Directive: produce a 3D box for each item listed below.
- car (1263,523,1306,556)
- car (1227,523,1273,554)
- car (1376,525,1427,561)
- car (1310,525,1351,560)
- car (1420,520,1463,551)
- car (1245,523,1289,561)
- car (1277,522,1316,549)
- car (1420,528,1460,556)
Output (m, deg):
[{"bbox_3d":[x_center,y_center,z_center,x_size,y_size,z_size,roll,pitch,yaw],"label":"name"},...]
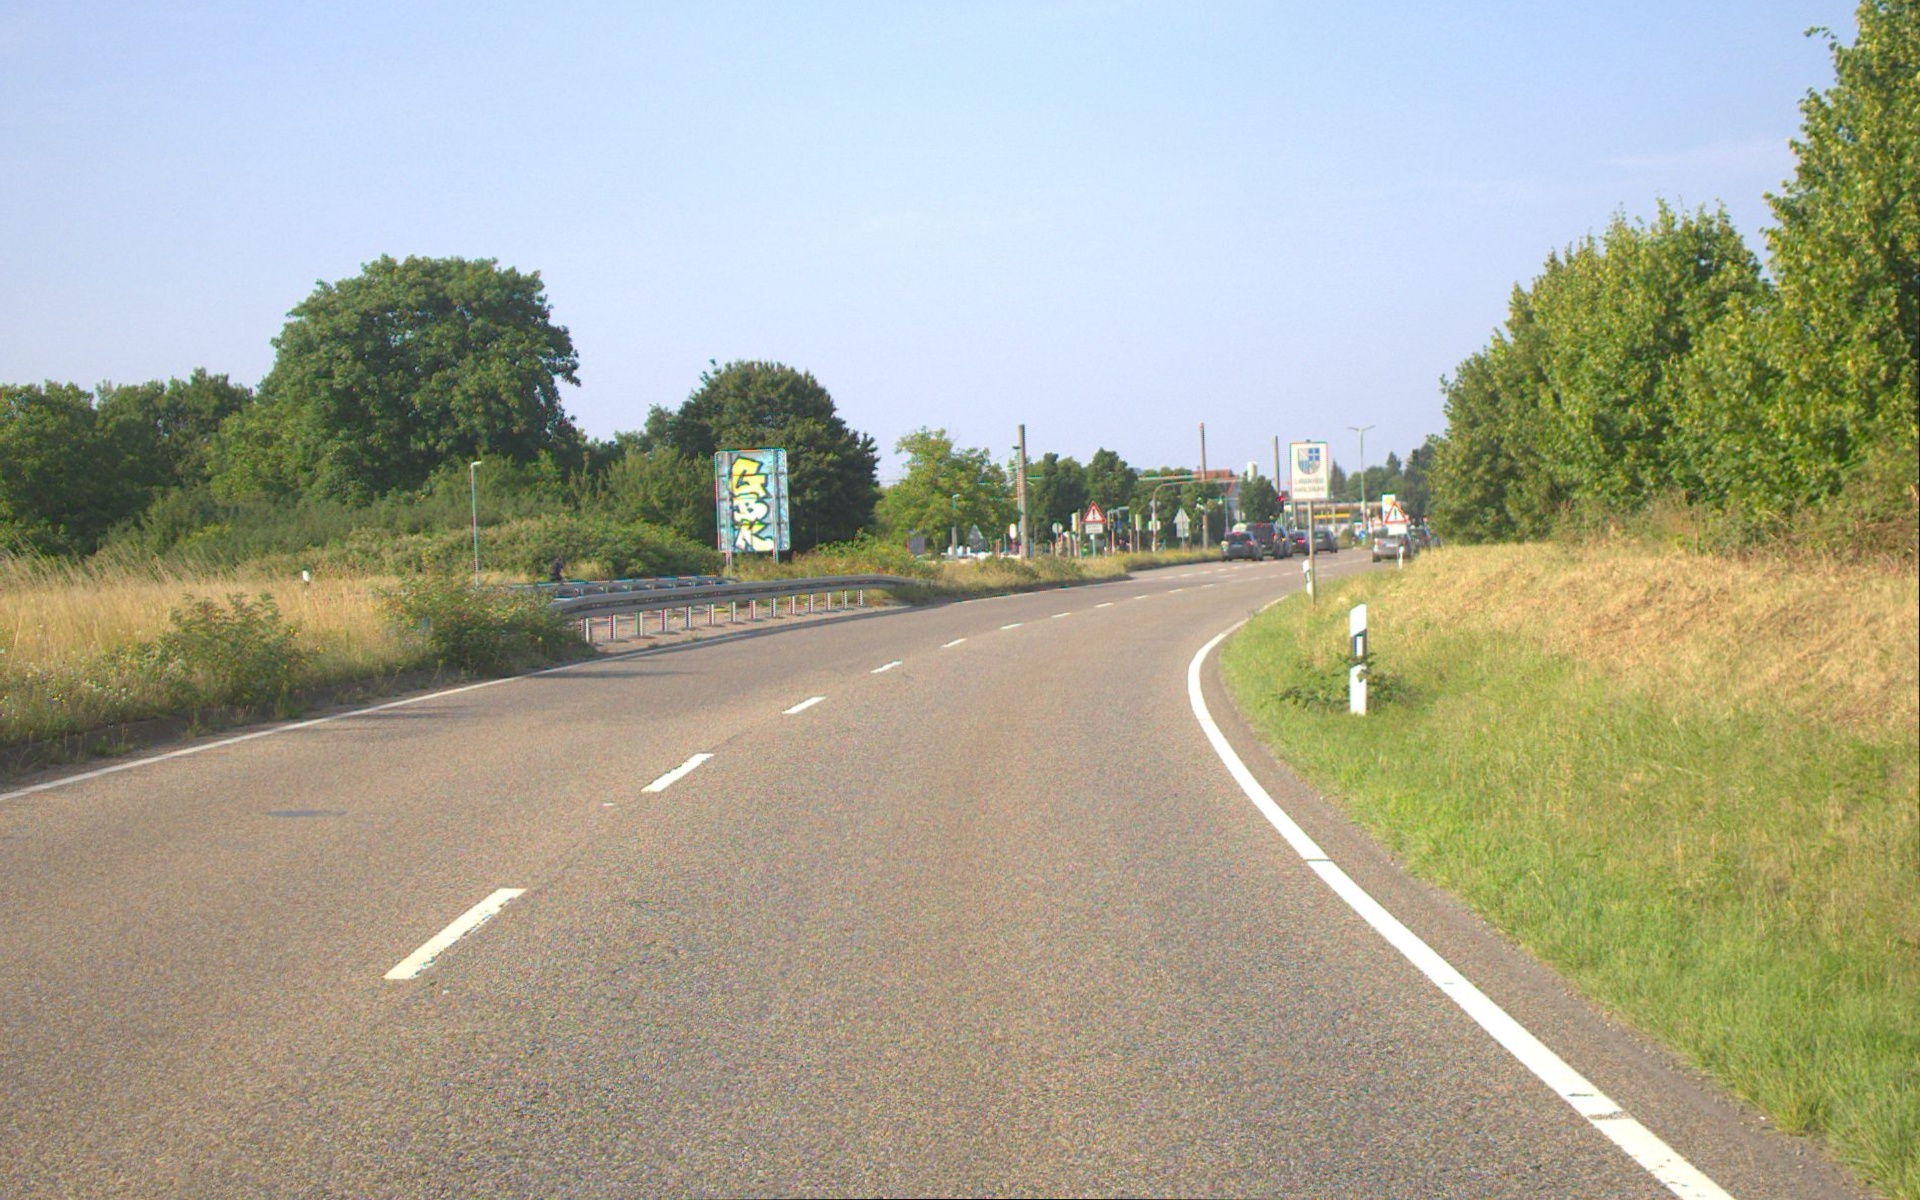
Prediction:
[{"bbox_3d":[17.357,-3.227,183.594,1.771,1.673,4.518,-1,1,11],"label":"car"},{"bbox_3d":[14.292,-3.044,169.241,1.733,1.451,4.518,-1,1,11],"label":"car"},{"bbox_3d":[20.224,-2.625,157.366,1.994,1.546,3.998,-1,1,11],"label":"car"},{"bbox_3d":[22.727,-3.516,210.780,1.994,2.007,4.834,-2,-1,12],"label":"car"},{"bbox_3d":[25.348,-3.390,180.816,1.994,1.546,3.998,-1,1,11],"label":"car"},{"bbox_3d":[15.732,-2.967,176.058,1.733,1.849,4.518,-1,1,11],"label":"car"},{"bbox_3d":[18.921,-3.637,193.076,1.771,1.466,4.013,-1,1,11],"label":"car"},{"bbox_3d":[27.893,-3.390,199.686,1.994,1.546,3.998,-1,1,11],"label":"car"}]
